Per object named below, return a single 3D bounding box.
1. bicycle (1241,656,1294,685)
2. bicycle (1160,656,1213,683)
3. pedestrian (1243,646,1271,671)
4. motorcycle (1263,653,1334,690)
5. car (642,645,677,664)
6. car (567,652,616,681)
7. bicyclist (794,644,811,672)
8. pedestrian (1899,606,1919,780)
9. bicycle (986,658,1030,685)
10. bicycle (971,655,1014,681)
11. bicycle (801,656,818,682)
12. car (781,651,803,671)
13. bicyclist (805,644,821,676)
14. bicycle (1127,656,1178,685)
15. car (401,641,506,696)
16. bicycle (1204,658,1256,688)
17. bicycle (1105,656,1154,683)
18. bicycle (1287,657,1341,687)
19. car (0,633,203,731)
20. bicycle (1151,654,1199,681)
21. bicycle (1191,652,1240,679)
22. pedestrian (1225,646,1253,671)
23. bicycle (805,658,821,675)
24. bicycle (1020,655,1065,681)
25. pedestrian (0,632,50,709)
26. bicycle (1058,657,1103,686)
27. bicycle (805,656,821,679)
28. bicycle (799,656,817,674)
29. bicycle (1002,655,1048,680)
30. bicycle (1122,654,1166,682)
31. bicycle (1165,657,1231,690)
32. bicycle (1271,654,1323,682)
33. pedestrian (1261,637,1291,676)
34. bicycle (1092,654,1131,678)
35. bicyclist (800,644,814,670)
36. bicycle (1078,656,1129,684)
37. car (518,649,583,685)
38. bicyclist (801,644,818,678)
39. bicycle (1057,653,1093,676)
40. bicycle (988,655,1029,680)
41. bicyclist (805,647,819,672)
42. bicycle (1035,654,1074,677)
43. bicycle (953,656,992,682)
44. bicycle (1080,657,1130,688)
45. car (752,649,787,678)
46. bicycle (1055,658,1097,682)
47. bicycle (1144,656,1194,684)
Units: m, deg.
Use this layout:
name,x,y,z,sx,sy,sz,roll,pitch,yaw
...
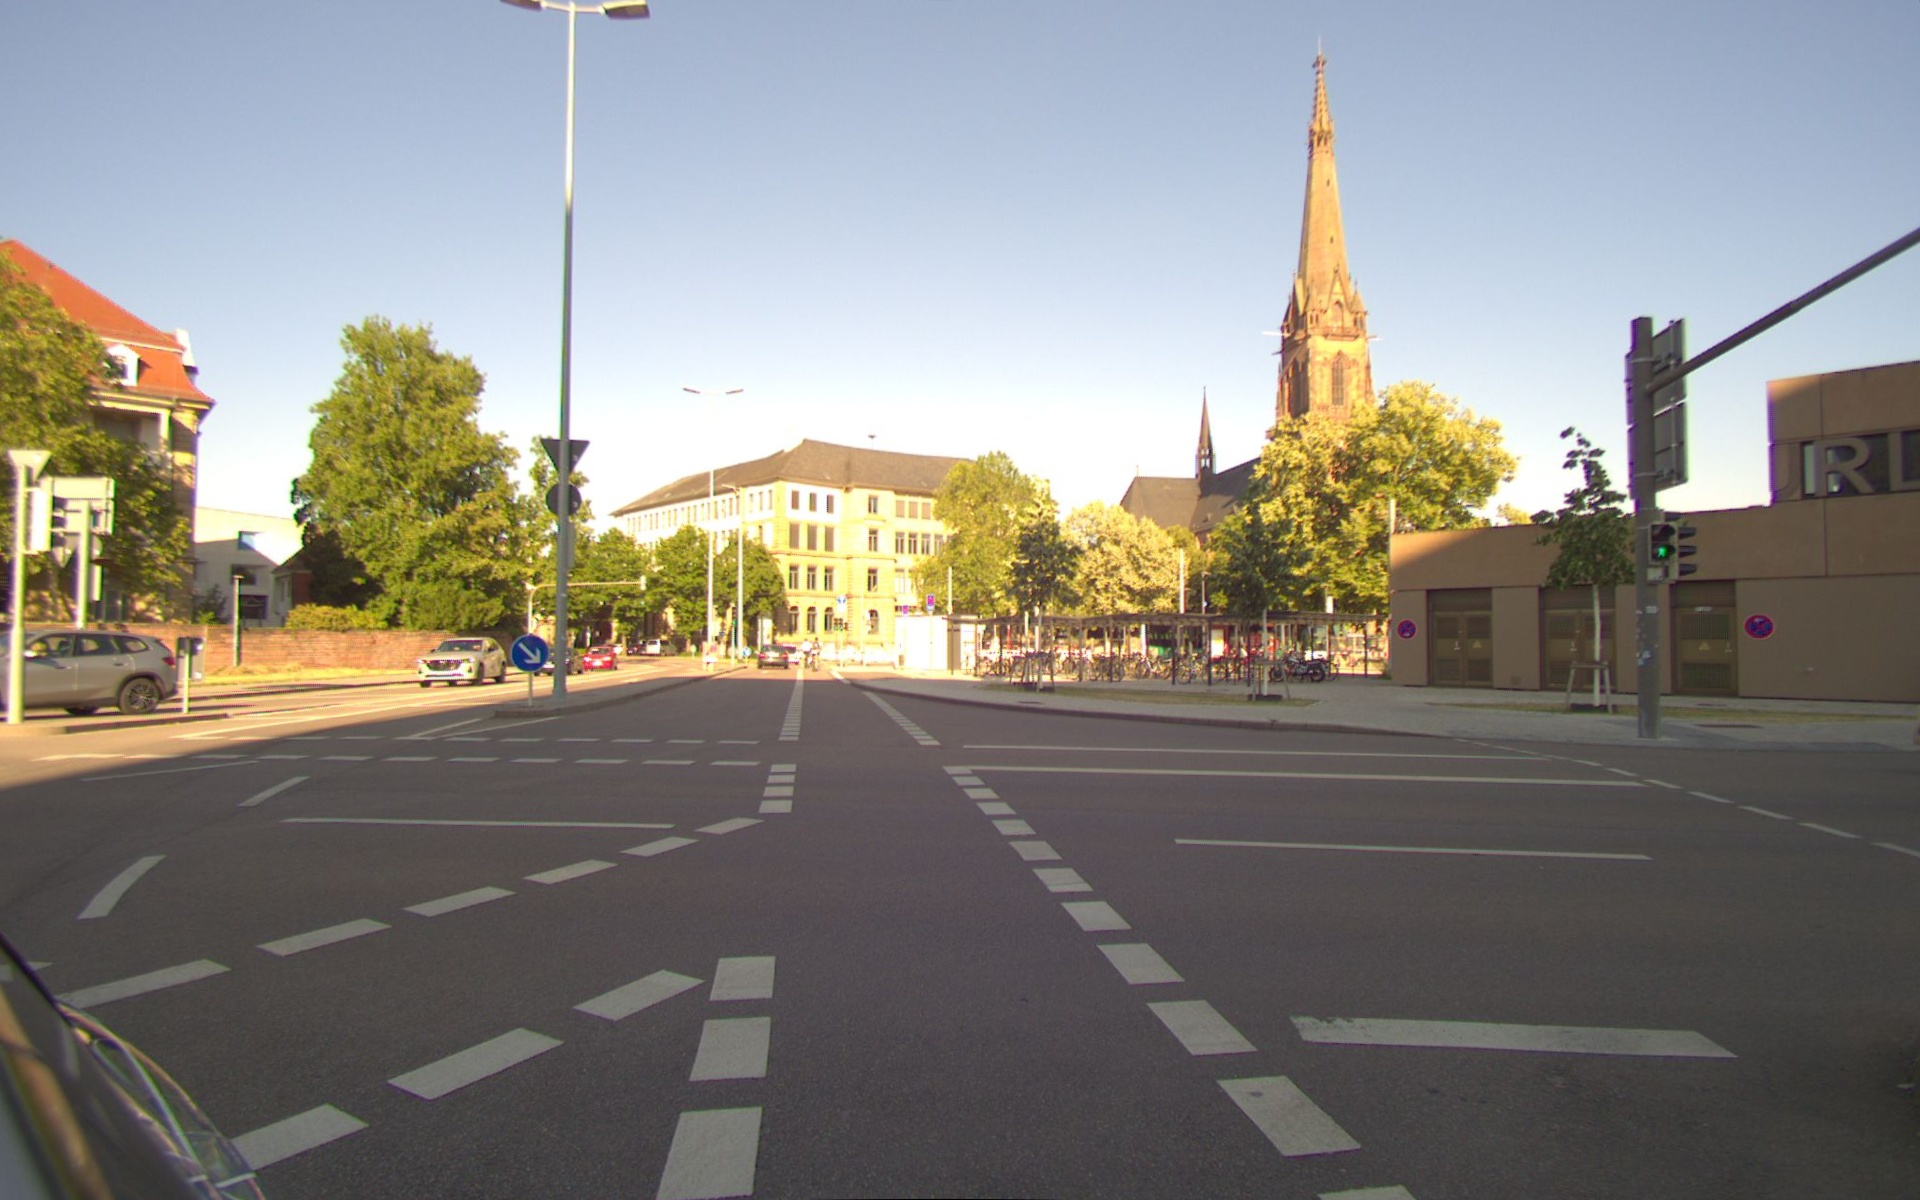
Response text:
name,x,y,z,sx,sy,sz,roll,pitch,yaw
bicycle,11.931,2.734,39.349,0.515,1.051,1.933,0,-2,-45
bicycle,9.392,2.889,42.022,2.109,1.051,0.595,-2,-2,45
pedestrian,16.797,3.302,57.292,1.037,1.360,1.080,0,-3,-41
motorcycle,12.126,2.546,36.322,0.708,1.257,2.359,0,-3,-42
car,-35.281,6.388,118.889,1.982,2.029,4.131,-1,1,16
car,-22.046,3.962,60.714,2.159,1.598,4.617,-1,-2,-12
bicyclist,-9.294,3.428,59.701,0.853,1.666,0.945,0,-3,-3
pedestrian,10.059,0.929,9.944,0.779,1.754,0.925,0,-3,10
bicycle,2.037,3.005,42.936,1.974,1.062,0.559,-2,-2,44
bicycle,1.443,3.013,45.142,0.672,1.062,2.025,0,-2,-43
bicycle,-7.688,3.512,51.751,0.753,1.196,2.609,-2,-2,-6
car,-11.914,4.309,71.574,1.361,1.348,3.512,1,-3,-12
bicyclist,-7.974,3.251,54.960,0.753,1.681,1.063,-2,-2,-6
bicycle,7.618,2.792,40.137,0.595,1.051,2.036,0,-2,-43
car,-17.369,2.296,34.944,2.159,1.697,4.617,-1,-2,-12
bicycle,10.076,2.704,37.838,1.847,1.051,0.516,-2,-2,42
bicycle,7.128,2.904,42.498,1.932,1.051,0.756,-2,-2,44
bicycle,13.255,2.673,37.910,1.848,1.051,0.515,-2,-2,43
car,-16.702,1.432,18.334,2.138,1.633,4.338,-1,-3,17
bicycle,9.294,2.916,43.847,0.558,1.097,2.073,0,-2,-44
bicycle,11.033,2.823,43.751,0.558,1.097,2.073,0,-2,-44
pedestrian,15.664,3.282,56.817,1.037,1.360,1.080,0,-3,-41
bicycle,-9.923,4.486,68.348,0.869,1.106,2.190,0,-3,-3
bicycle,3.613,2.984,44.331,0.747,1.062,1.975,0,-2,-44
pedestrian,-21.164,1.589,22.785,0.711,1.665,0.783,2,-3,36
bicycle,4.765,2.814,40.038,1.800,1.114,0.479,-2,-2,40
bicycle,-7.961,3.644,54.953,0.753,1.196,2.609,-2,-2,-6
bicycle,-9.625,4.106,64.075,0.869,1.106,2.190,0,-3,-3
bicycle,3.012,3.136,47.140,2.120,1.062,0.825,-2,-2,44
bicycle,7.915,2.917,43.579,0.528,1.097,1.933,0,-2,-45
bicycle,8.385,2.581,35.727,2.124,1.114,0.734,-4,-3,43
bicycle,13.600,2.739,40.881,0.515,1.051,1.933,0,-2,-45
pedestrian,17.211,3.073,55.073,1.117,2.029,1.031,0,-3,-41
bicycle,7.203,3.132,48.176,0.411,1.062,1.976,0,-2,-42
bicyclist,-9.680,3.607,64.180,0.853,1.666,0.945,0,-3,-7
bicycle,5.905,2.865,41.713,1.932,1.051,0.853,-2,-2,44
car,-20.047,3.236,49.727,2.159,1.598,4.617,-1,-2,-12
bicyclist,-7.688,3.119,51.779,0.753,1.681,1.063,-2,-2,-6
bicycle,5.605,3.166,49.521,0.411,1.062,1.976,0,-2,-42
bicycle,2.193,3.054,45.743,0.672,1.062,1.938,0,-2,-43
bicyclist,-9.976,4.008,68.265,0.853,1.666,0.945,0,-3,-3
bicycle,4.636,3.206,49.731,1.973,1.062,0.490,-2,-2,43
bicycle,0.548,2.970,43.869,0.558,1.062,1.977,0,-2,-38
bicycle,5.522,2.751,38.703,0.558,1.114,1.975,0,-2,-44
car,-10.809,3.582,57.569,1.778,1.455,3.985,0,-1,-9
bicycle,5.309,3.208,46.493,1.974,1.062,0.559,-2,-2,44
bicycle,8.419,2.827,40.892,0.595,1.051,2.037,0,-2,-40
